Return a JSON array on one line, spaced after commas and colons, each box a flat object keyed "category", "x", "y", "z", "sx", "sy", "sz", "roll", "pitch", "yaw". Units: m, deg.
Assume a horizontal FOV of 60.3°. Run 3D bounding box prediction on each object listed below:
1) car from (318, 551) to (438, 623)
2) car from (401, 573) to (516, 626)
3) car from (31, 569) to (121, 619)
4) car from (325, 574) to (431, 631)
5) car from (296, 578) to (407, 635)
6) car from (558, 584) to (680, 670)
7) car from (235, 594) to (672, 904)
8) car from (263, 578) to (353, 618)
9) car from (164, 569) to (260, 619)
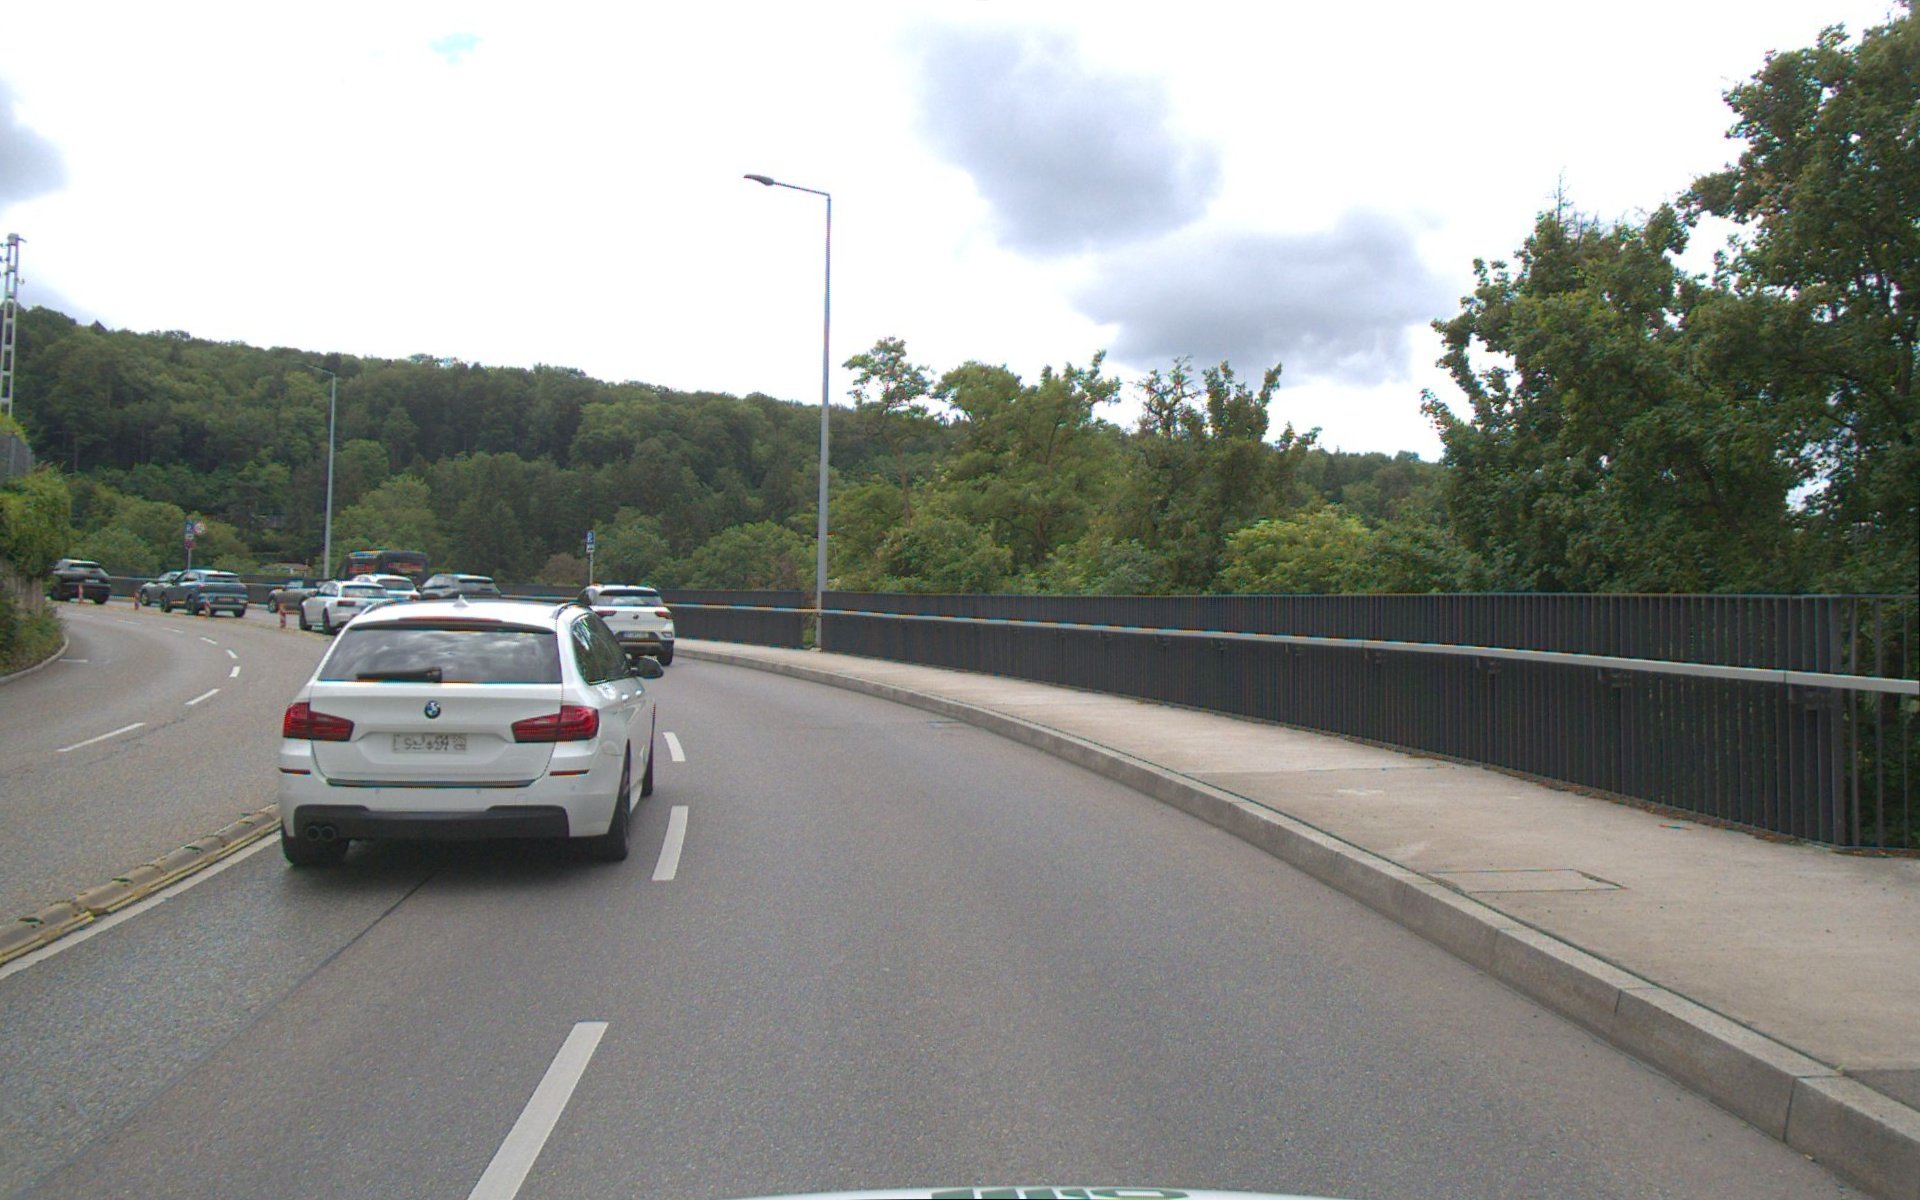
[{"category": "car", "x": -21.960, "y": -0.547, "z": 62.295, "sx": 2.157, "sy": 2.565, "sz": 5.679, "roll": -1, "pitch": 2, "yaw": -43}, {"category": "car", "x": -17.342, "y": -0.035, "z": 57.000, "sx": 1.982, "sy": 1.748, "sz": 4.974, "roll": 1, "pitch": 0, "yaw": -41}, {"category": "car", "x": -35.061, "y": -0.203, "z": 65.593, "sx": 3.927, "sy": 1.793, "sz": 1.865, "roll": -2, "pitch": -4, "yaw": 41}, {"category": "car", "x": -18.702, "y": 0.069, "z": 53.066, "sx": 1.981, "sy": 1.748, "sz": 4.055, "roll": -1, "pitch": 0, "yaw": -39}, {"category": "car", "x": -17.236, "y": 0.162, "z": 46.754, "sx": 1.976, "sy": 1.529, "sz": 4.613, "roll": 0, "pitch": 0, "yaw": -33}, {"category": "car", "x": -7.051, "y": 0.506, "z": 33.932, "sx": 1.802, "sy": 1.634, "sz": 3.973, "roll": 0, "pitch": 0, "yaw": -22}, {"category": "car", "x": -2.862, "y": 0.714, "z": 10.361, "sx": 1.793, "sy": 1.485, "sz": 4.480, "roll": 0, "pitch": 0, "yaw": -6}, {"category": "car", "x": -26.009, "y": -0.072, "z": 65.954, "sx": 3.777, "sy": 1.456, "sz": 1.711, "roll": 2, "pitch": 0, "yaw": 39}, {"category": "car", "x": -26.055, "y": -0.221, "z": 57.572, "sx": 1.983, "sy": 1.677, "sz": 3.939, "roll": -1, "pitch": 0, "yaw": -42}]
